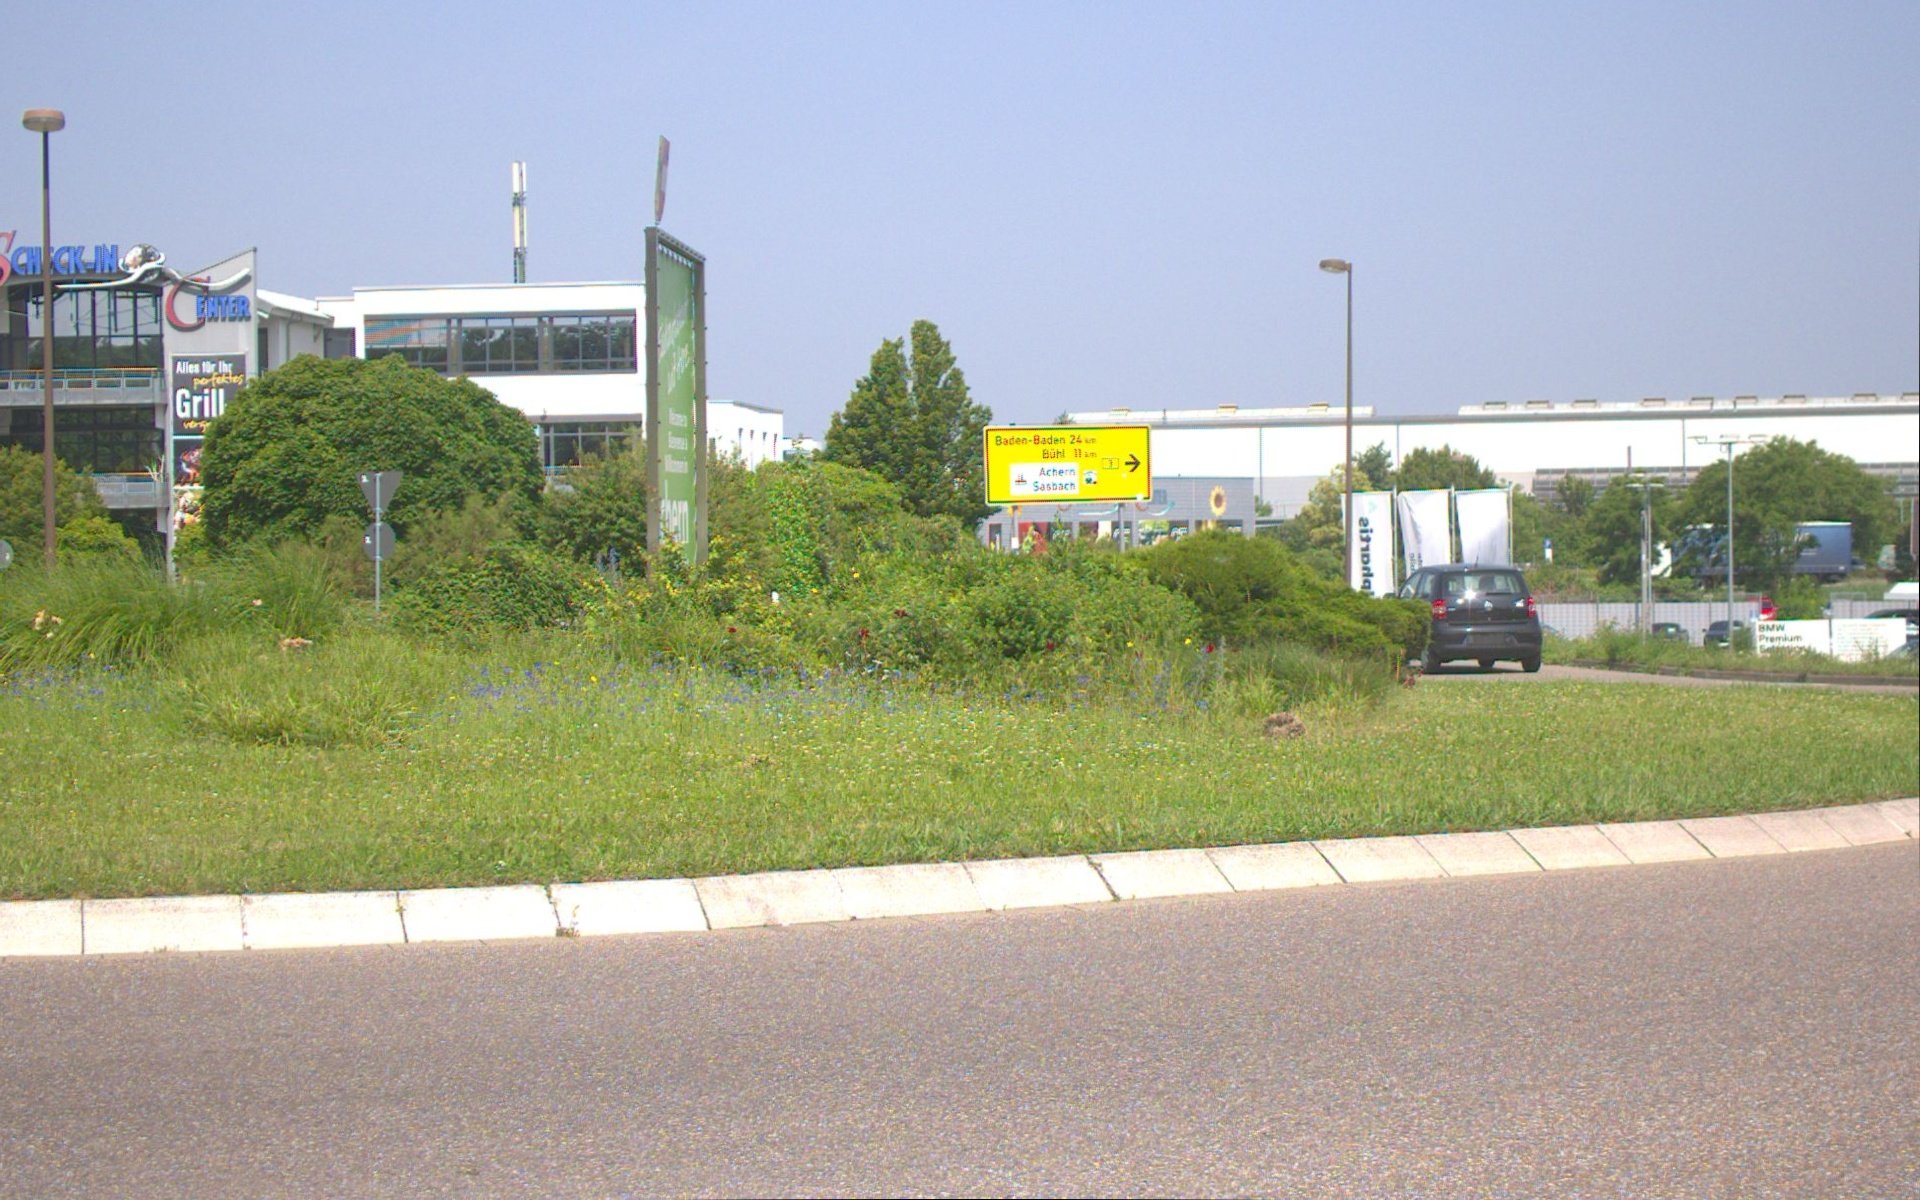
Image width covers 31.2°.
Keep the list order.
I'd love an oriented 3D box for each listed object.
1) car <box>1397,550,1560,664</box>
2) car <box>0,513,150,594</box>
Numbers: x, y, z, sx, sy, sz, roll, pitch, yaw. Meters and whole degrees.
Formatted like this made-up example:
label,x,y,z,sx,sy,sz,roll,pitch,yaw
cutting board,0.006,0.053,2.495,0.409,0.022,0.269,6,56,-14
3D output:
label,x,y,z,sx,sy,sz,roll,pitch,yaw
car,7.276,0.104,48.594,1.779,1.525,4.000,1,0,1
car,-18.307,-0.927,69.695,3.315,1.569,1.555,-1,-1,15
